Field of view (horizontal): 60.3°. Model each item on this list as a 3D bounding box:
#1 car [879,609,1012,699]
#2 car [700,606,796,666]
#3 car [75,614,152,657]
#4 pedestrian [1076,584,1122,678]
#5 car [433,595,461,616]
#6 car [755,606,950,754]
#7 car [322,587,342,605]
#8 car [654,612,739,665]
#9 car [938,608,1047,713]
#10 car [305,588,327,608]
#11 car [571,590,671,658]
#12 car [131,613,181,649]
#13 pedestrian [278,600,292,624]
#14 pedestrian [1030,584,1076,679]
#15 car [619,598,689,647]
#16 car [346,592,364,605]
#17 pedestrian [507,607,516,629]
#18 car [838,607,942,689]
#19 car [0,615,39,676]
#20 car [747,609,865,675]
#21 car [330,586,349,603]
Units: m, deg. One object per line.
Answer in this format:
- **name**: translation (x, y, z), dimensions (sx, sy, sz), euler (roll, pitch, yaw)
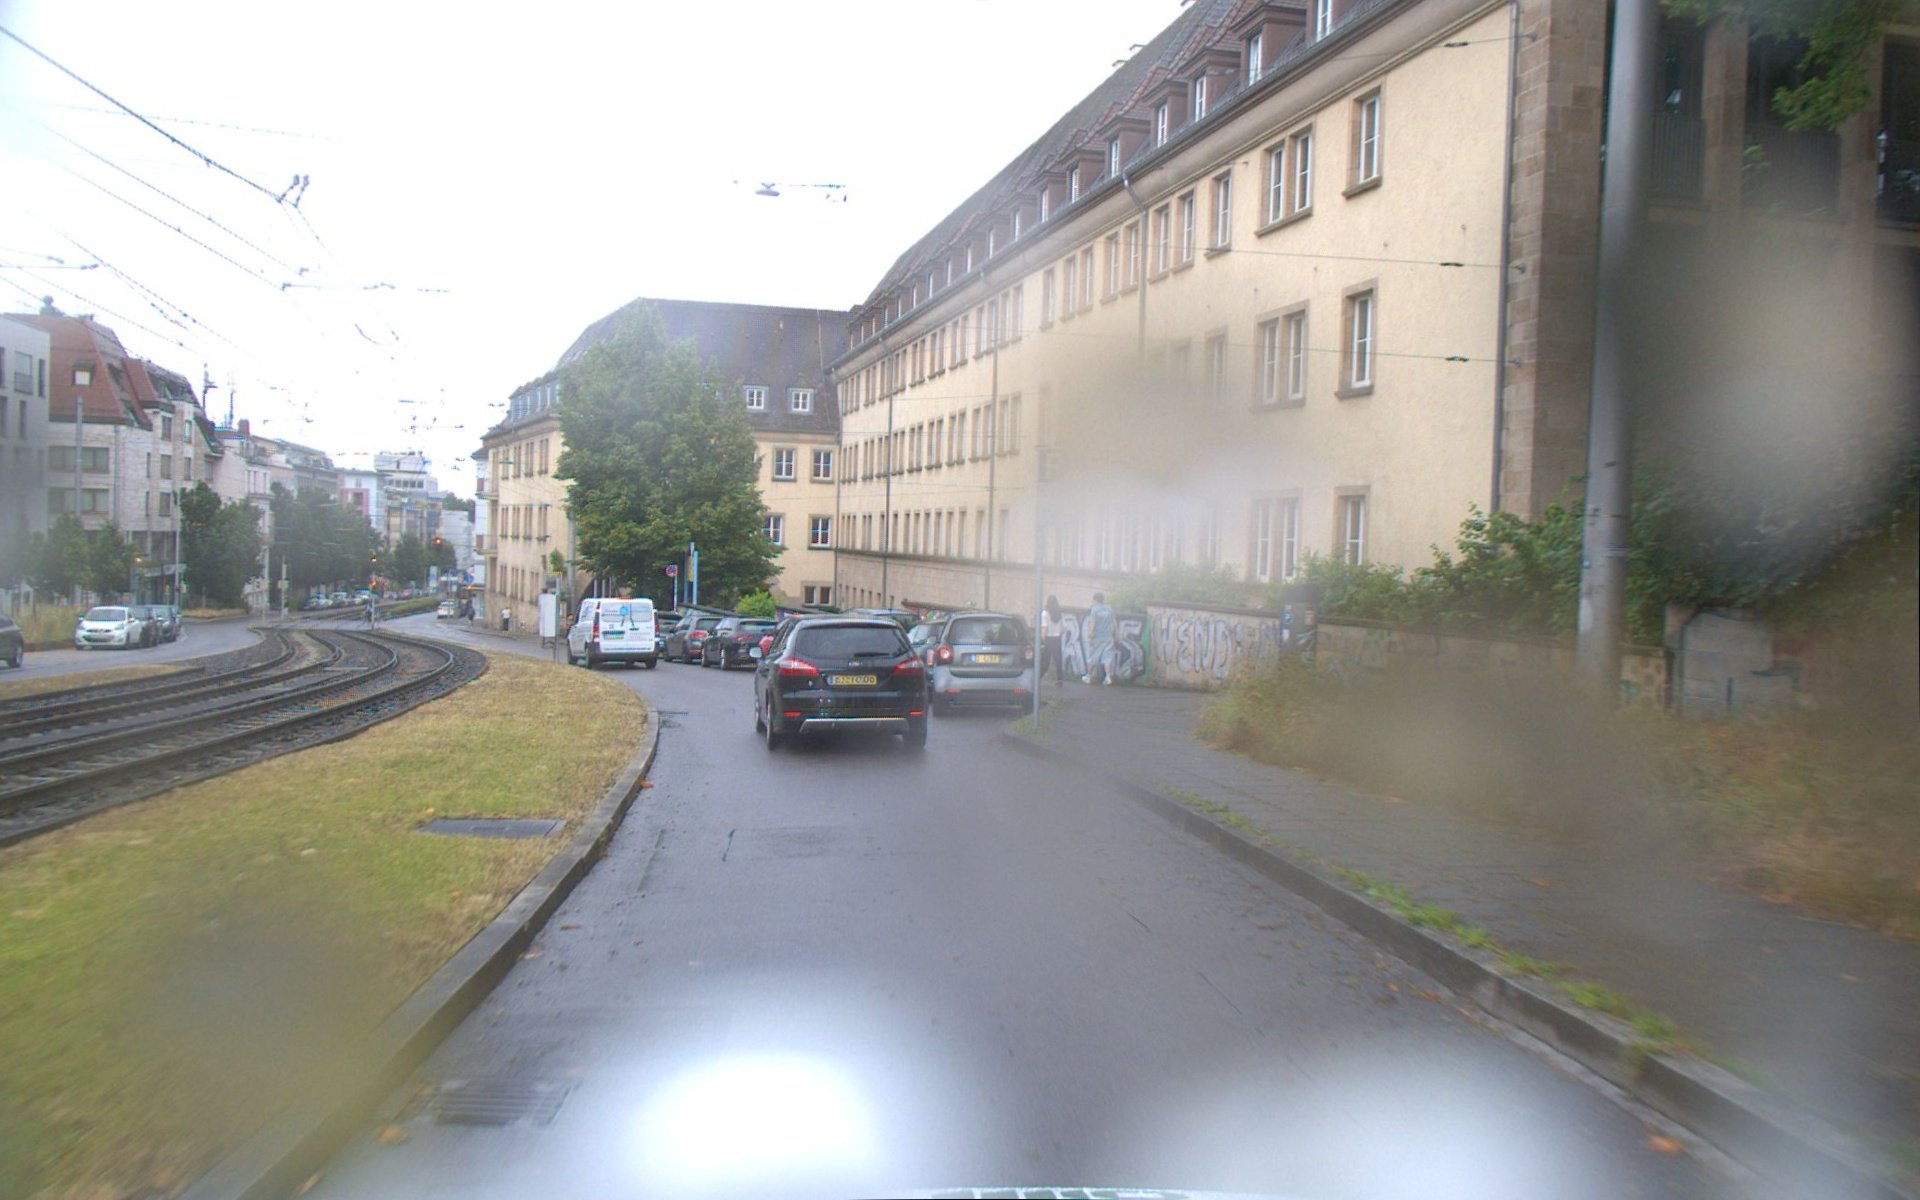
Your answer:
- **car**: translation (-0.311, 0.908, 29.330), dimensions (1.510, 1.441, 3.629), euler (-1, 0, -15)
- **car**: translation (-5.788, 0.927, 44.800), dimensions (1.641, 1.502, 4.431), euler (-1, 0, -20)
- **car**: translation (-30.539, 1.261, 59.757), dimensions (1.737, 1.505, 3.718), euler (0, 0, -16)
- **pedestrian**: translation (2.678, 0.581, 31.918), dimensions (0.705, 1.785, 0.737), euler (0, 0, -12)
- **car**: translation (-45.886, 0.489, 148.009), dimensions (1.959, 1.803, 3.987), euler (1, 0, -12)
- **car**: translation (-1.372, 0.842, 19.481), dimensions (1.885, 1.505, 3.991), euler (0, 0, -10)
- **car**: translation (-72.421, -0.427, 190.692), dimensions (1.963, 2.049, 3.979), euler (1, 0, -18)
- **car**: translation (-8.051, 1.125, 50.257), dimensions (1.643, 1.502, 4.080), euler (-1, 0, -23)
- **car**: translation (0.472, 0.883, 25.405), dimensions (1.565, 1.491, 2.720), euler (-1, 0, 0)
- **car**: translation (-69.467, -0.232, 178.364), dimensions (1.963, 2.049, 3.979), euler (1, 0, -18)
- **car**: translation (-9.384, 0.619, 45.559), dimensions (2.106, 1.776, 4.193), euler (0, 0, -20)
- **car**: translation (-35.678, 1.339, 73.503), dimensions (1.695, 1.540, 4.289), euler (0, 0, -22)
- **pedestrian**: translation (-54.473, 0.971, 133.469), dimensions (0.894, 1.965, 0.818), euler (1, -1, -28)
- **pedestrian**: translation (1.786, 0.593, 31.714), dimensions (0.705, 1.785, 0.737), euler (0, 0, -12)
- **car**: translation (-10.345, 0.738, 55.718), dimensions (1.641, 1.551, 4.084), euler (-1, 0, -20)
- **car**: translation (-78.272, -0.164, 213.978), dimensions (1.963, 1.691, 3.979), euler (1, 0, -18)
- **pedestrian**: translation (-28.377, 1.141, 104.610), dimensions (0.497, 1.338, 0.507), euler (1, 0, -23)
- **car**: translation (-1.528, 0.956, 34.820), dimensions (1.636, 1.600, 3.845), euler (-1, 0, -11)
- **car**: translation (-24.569, 1.102, 41.032), dimensions (1.933, 1.456, 4.183), euler (1, -1, -14)
- **car**: translation (-3.779, 0.997, 40.139), dimensions (1.644, 1.502, 4.035), euler (1, -1, -24)
- **car**: translation (-75.501, -0.657, 201.166), dimensions (1.963, 2.049, 3.979), euler (1, 0, -18)
